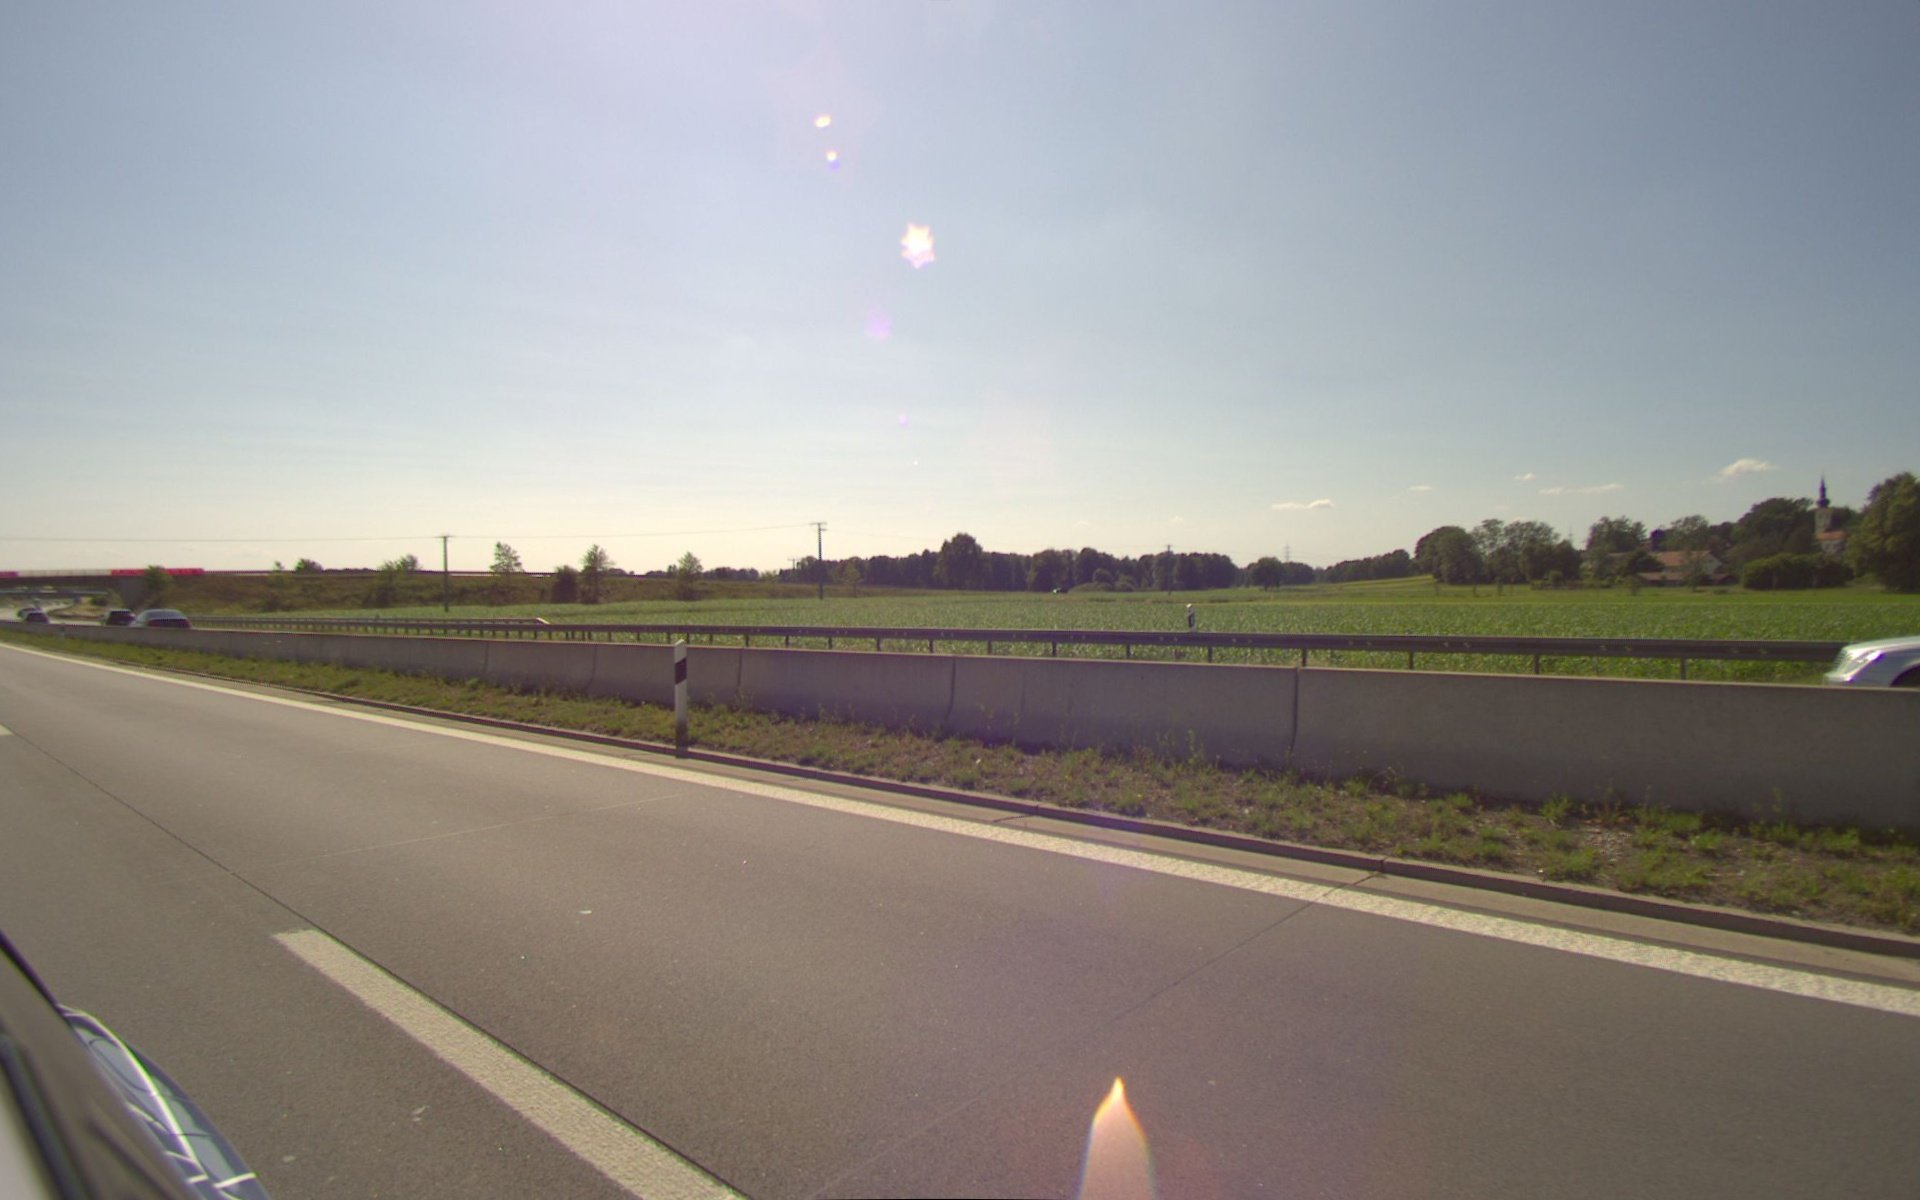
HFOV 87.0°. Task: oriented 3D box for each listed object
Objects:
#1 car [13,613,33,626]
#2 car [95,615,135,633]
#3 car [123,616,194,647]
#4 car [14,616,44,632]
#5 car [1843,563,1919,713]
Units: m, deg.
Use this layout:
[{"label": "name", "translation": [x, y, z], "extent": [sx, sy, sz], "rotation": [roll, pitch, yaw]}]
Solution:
[{"label": "car", "translation": [-152.301, 3.144, 164.506], "extent": [5.614, 2.029, 1.972], "rotation": [0, 0, 43]}, {"label": "car", "translation": [-65.341, 1.873, 78.247], "extent": [4.663, 1.375, 1.803], "rotation": [-2, -1, 43]}, {"label": "car", "translation": [-37.640, 1.466, 47.488], "extent": [4.657, 1.375, 1.804], "rotation": [-2, -1, 41]}, {"label": "car", "translation": [-87.505, 2.265, 95.087], "extent": [5.199, 1.375, 1.802], "rotation": [-2, -1, 44]}, {"label": "car", "translation": [11.016, 0.310, 8.557], "extent": [5.292, 1.375, 1.804], "rotation": [-2, -1, 41]}]
